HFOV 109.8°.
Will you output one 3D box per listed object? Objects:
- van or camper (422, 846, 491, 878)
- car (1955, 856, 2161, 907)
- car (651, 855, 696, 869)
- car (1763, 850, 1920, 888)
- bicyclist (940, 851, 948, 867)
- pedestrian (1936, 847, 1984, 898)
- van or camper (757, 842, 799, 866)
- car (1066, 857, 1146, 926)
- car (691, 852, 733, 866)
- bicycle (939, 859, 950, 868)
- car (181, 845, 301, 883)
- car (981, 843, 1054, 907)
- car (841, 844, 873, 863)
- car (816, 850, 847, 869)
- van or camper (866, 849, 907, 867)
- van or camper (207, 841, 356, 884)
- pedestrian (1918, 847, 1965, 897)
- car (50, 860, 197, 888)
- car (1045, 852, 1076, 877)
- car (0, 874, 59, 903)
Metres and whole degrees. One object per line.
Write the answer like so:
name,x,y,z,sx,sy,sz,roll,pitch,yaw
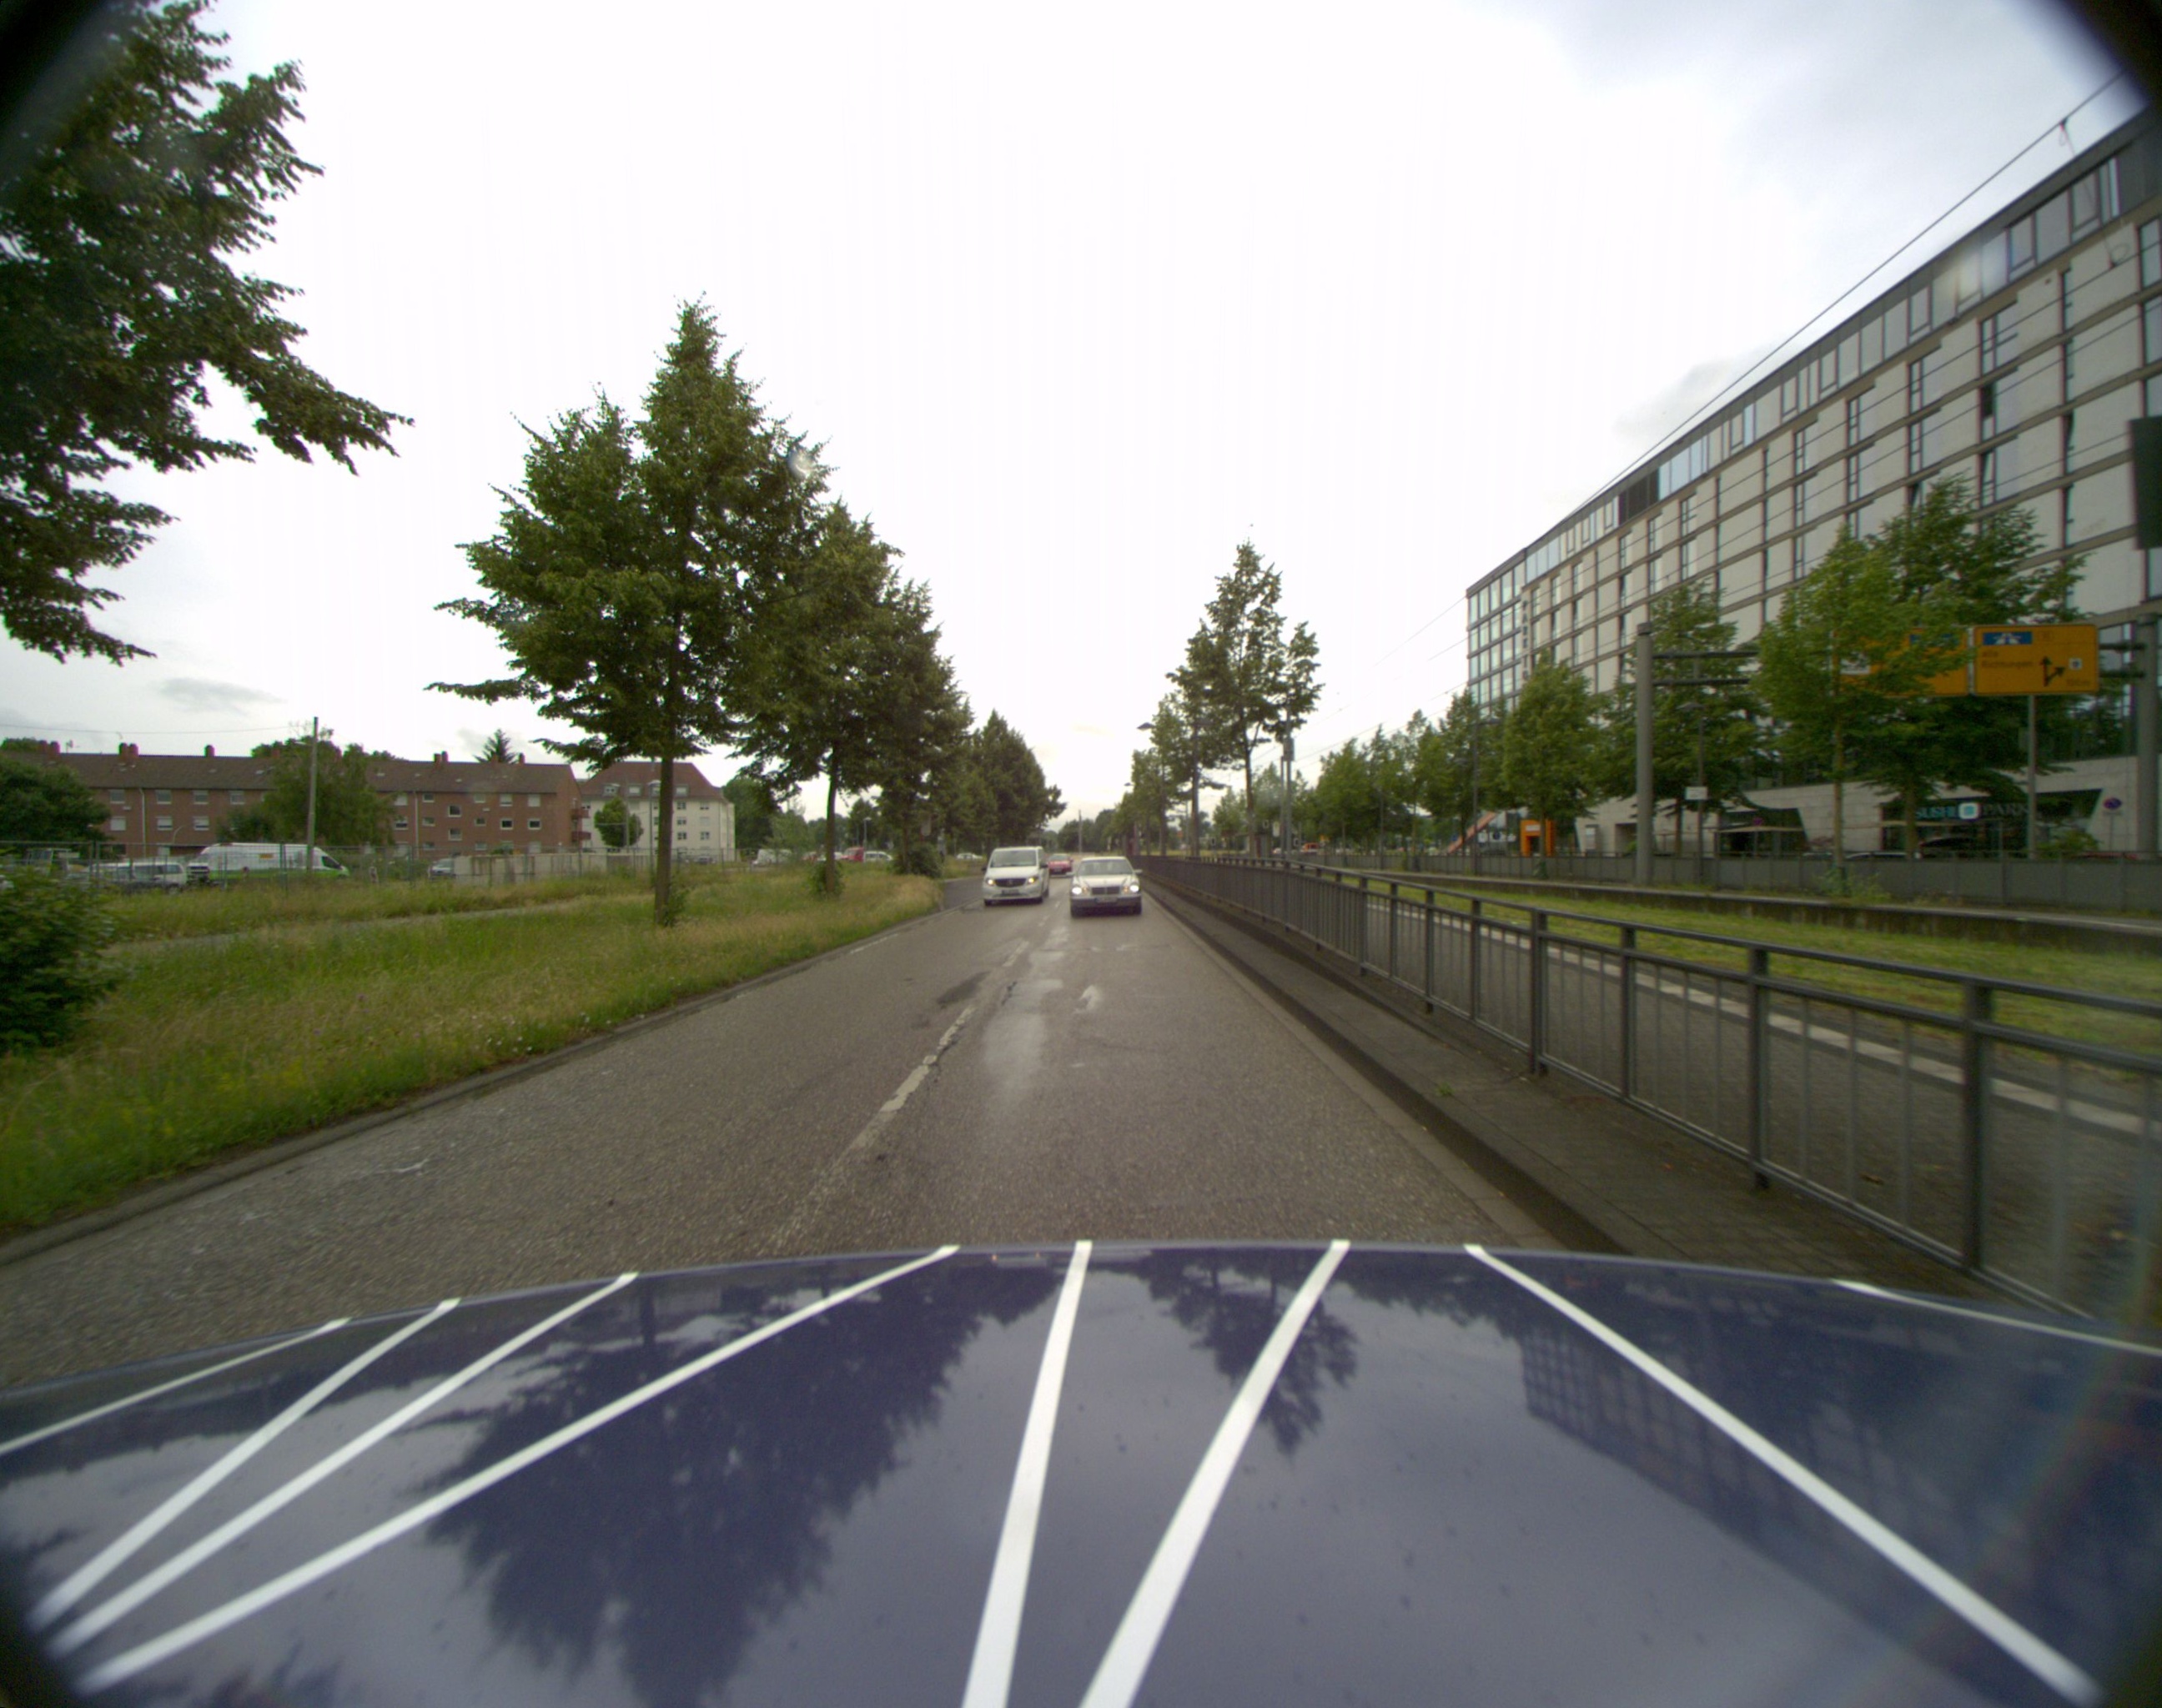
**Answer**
van or camper,-53.217,0.651,64.902,1.919,2.521,5.258,-2,0,-6
car,28.454,0.723,21.984,1.998,1.281,3.860,-1,0,3
car,-46.285,0.897,86.276,1.995,1.444,4.007,-2,0,28
car,28.610,0.501,28.797,1.998,1.281,4.070,-1,1,3
bicyclist,-13.132,0.501,73.091,0.537,1.497,0.841,-1,1,4
pedestrian,29.959,0.623,25.916,0.712,1.682,0.793,-1,1,4
van or camper,-40.372,-0.076,101.330,2.343,3.017,5.515,-2,1,12
car,0.635,0.847,19.175,1.738,1.451,4.608,-1,0,2
car,-43.864,0.607,90.490,1.995,1.543,4.007,-2,1,28
bicycle,-13.136,0.918,73.100,0.548,0.873,1.745,-1,0,4
car,-52.762,0.588,47.896,2.278,2.207,4.758,-1,0,-2
car,-2.076,0.623,26.306,1.972,1.968,5.091,-1,1,1
car,-27.876,-0.026,94.844,1.996,2.297,4.004,-1,0,14
car,-31.327,0.653,95.534,1.997,2.297,4.003,-1,0,10
van or camper,-22.512,0.427,87.975,4.334,2.002,1.860,-1,0,-5
van or camper,-46.222,0.458,44.220,2.208,2.294,6.147,-1,0,-1
pedestrian,29.172,0.600,25.769,0.712,1.682,0.793,-1,1,4
car,-52.559,1.058,41.899,2.096,1.344,4.758,-1,0,-2
car,-1.348,0.707,51.996,1.798,1.603,4.246,-1,1,3
car,-52.238,1.683,35.772,1.847,1.344,4.758,-1,0,-2
